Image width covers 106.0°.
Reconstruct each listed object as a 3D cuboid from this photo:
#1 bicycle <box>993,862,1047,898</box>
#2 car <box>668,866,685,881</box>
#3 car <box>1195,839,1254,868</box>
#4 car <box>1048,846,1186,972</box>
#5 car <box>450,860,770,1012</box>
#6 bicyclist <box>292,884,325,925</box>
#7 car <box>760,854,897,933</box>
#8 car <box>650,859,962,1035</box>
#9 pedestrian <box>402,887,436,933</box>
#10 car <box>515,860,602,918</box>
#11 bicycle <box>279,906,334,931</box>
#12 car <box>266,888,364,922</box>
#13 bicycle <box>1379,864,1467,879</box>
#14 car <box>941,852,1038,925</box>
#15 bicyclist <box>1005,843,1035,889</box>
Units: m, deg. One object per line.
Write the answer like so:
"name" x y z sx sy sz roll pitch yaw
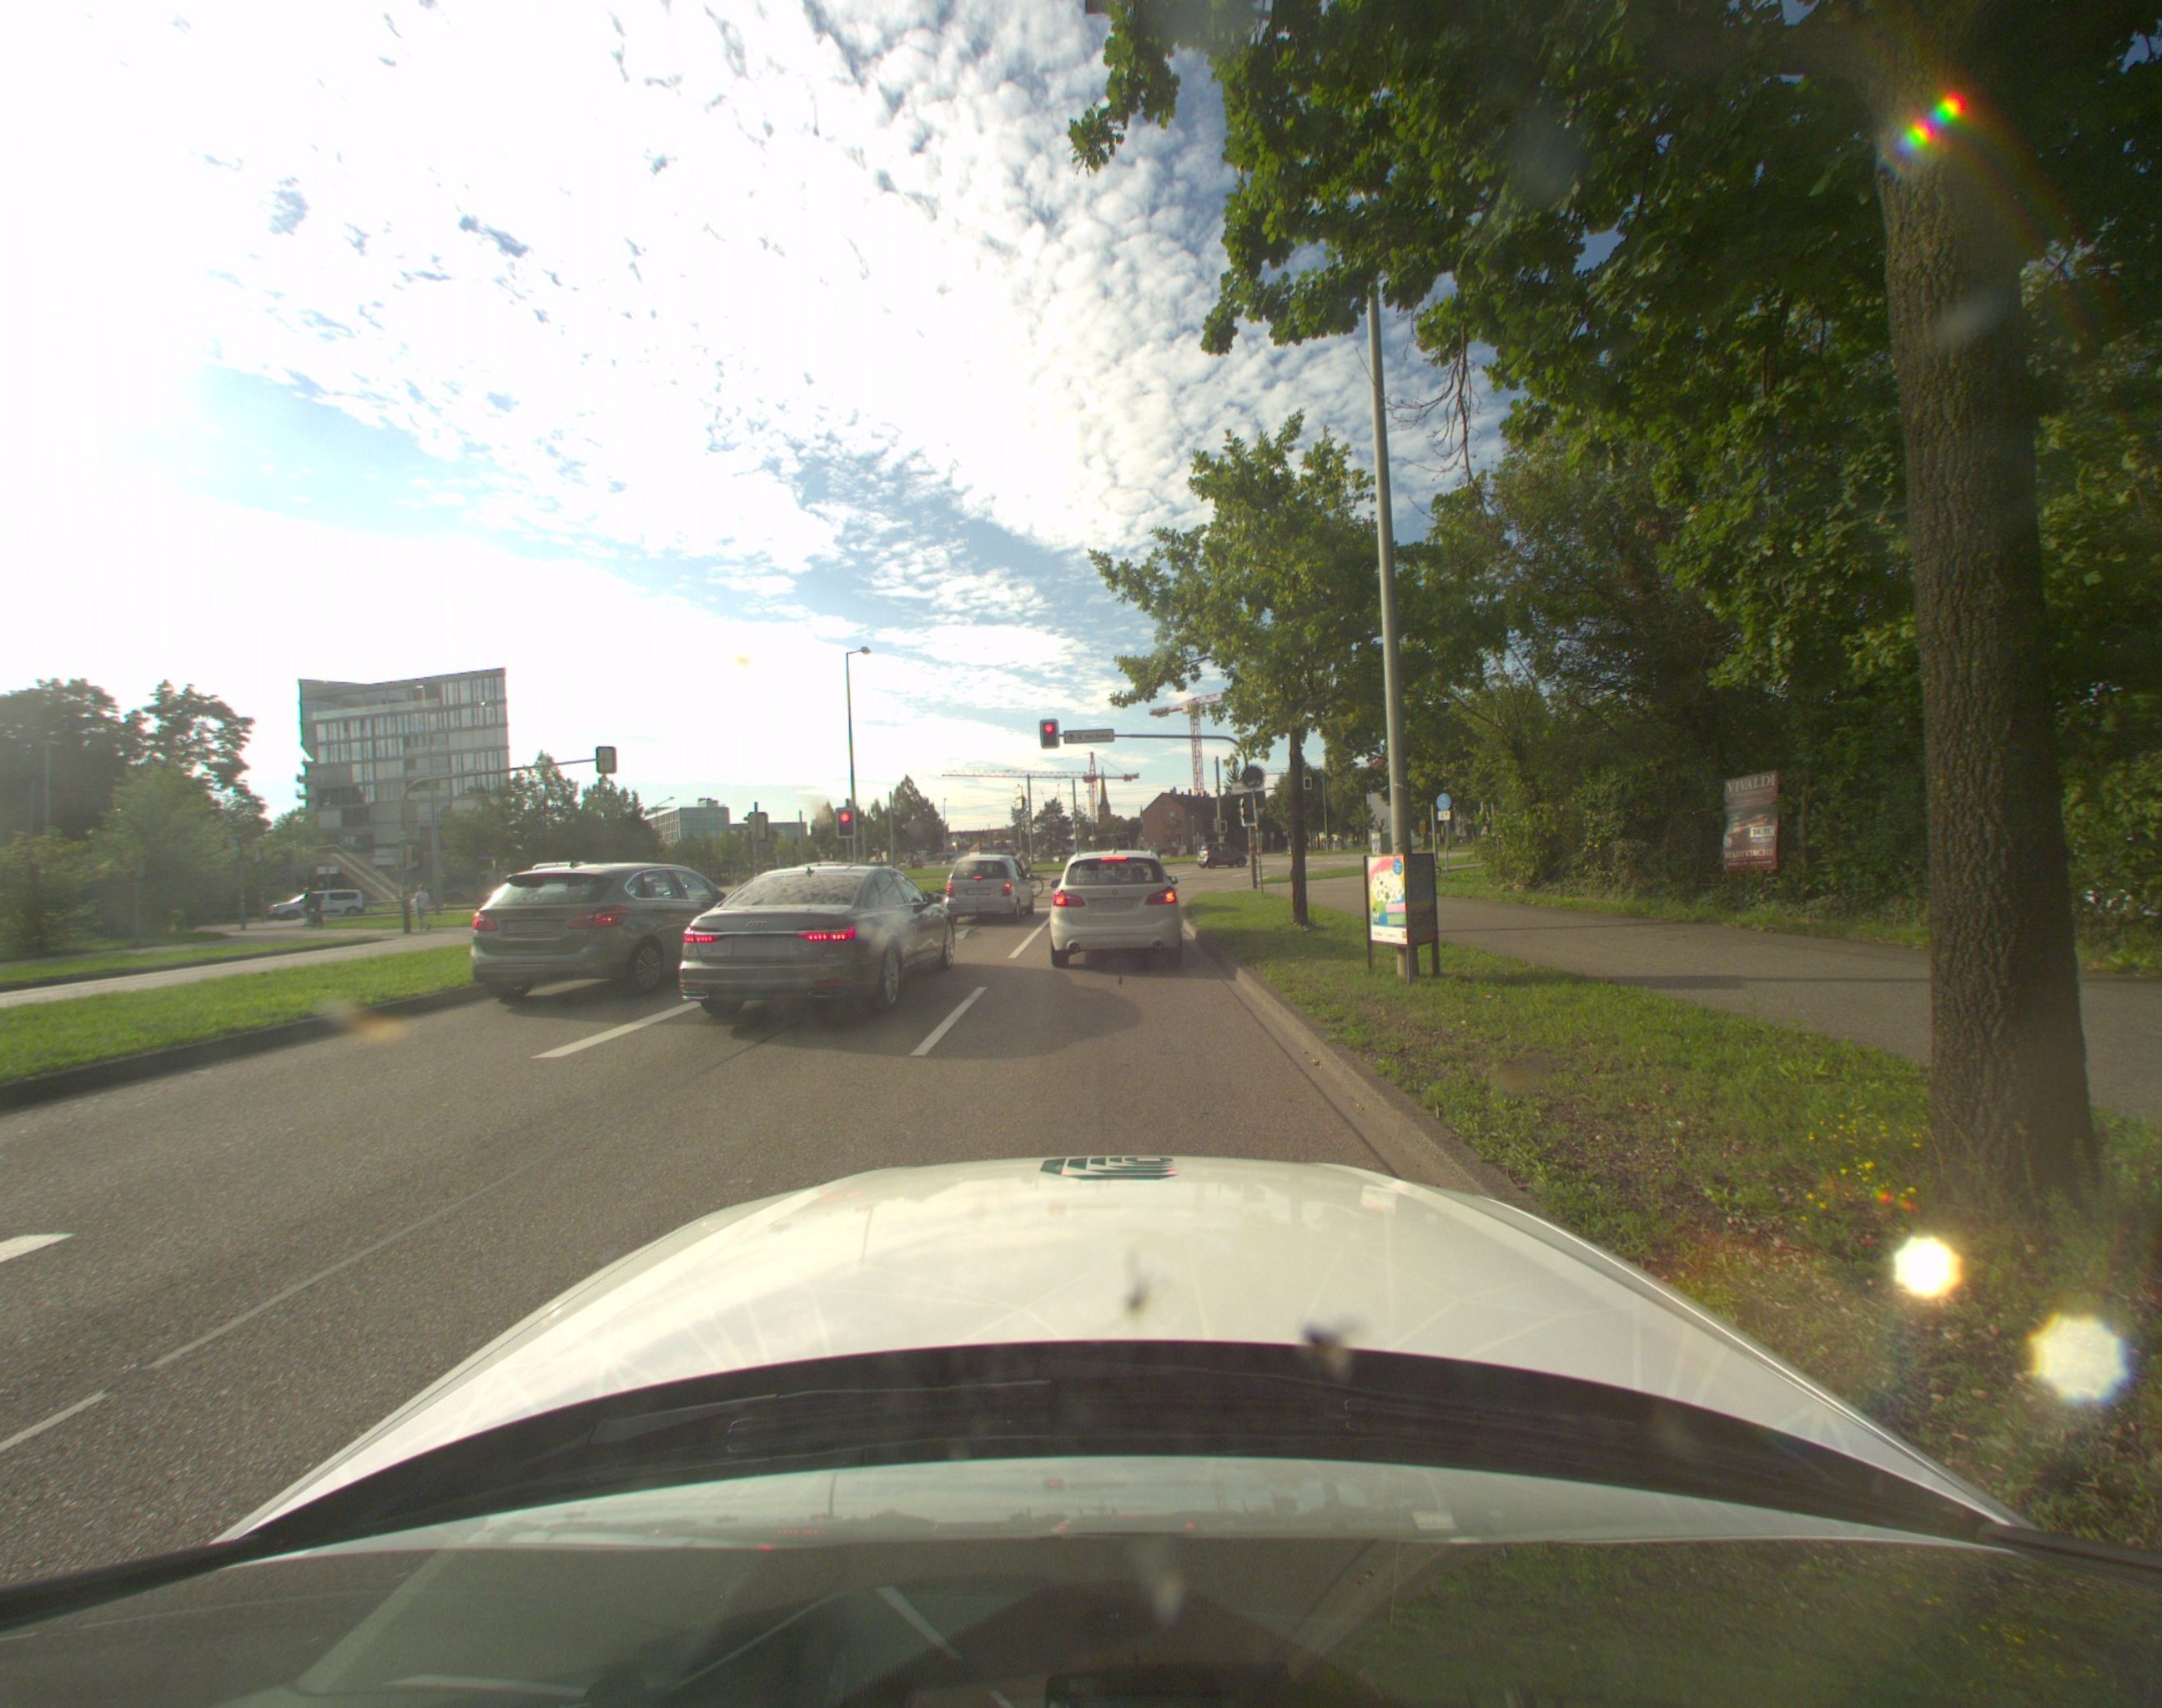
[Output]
"bicycle" -2.128 0.895 28.378 1.728 1.163 0.652 -3 -1 -15
"car" -47.927 2.321 96.578 1.600 1.415 3.638 -5 -2 -25
"car" 8.729 -0.047 49.591 3.188 1.574 1.569 -3 0 -10
"car" 0.519 0.699 12.414 1.723 1.558 4.059 -2 0 2
"car" -5.828 0.894 10.754 1.722 1.558 4.021 -2 0 2
"bicyclist" -33.464 2.185 35.279 0.786 1.668 0.549 -3 -1 -3
"car" -5.494 0.808 18.257 1.714 1.565 3.879 -1 -1 2
"car" -2.733 0.824 9.389 1.883 1.483 4.614 -2 0 2
"pedestrian" -23.682 2.002 29.122 0.653 1.569 0.615 -3 -1 -3
"car" -23.114 1.524 36.294 2.001 2.235 5.881 -4 0 -21
"bicycle" -33.496 2.777 35.228 1.670 0.967 0.643 -3 -3 -4
"car" -48.221 3.196 51.333 1.974 1.747 4.156 -3 0 37
"bicycle" 10.659 0.534 25.549 1.407 0.385 2.568 -3 0 -9
"car" -2.133 0.761 19.990 1.722 1.558 4.060 -1 0 2
"bicyclist" -2.130 0.408 28.396 0.850 1.526 0.737 -3 0 -15
